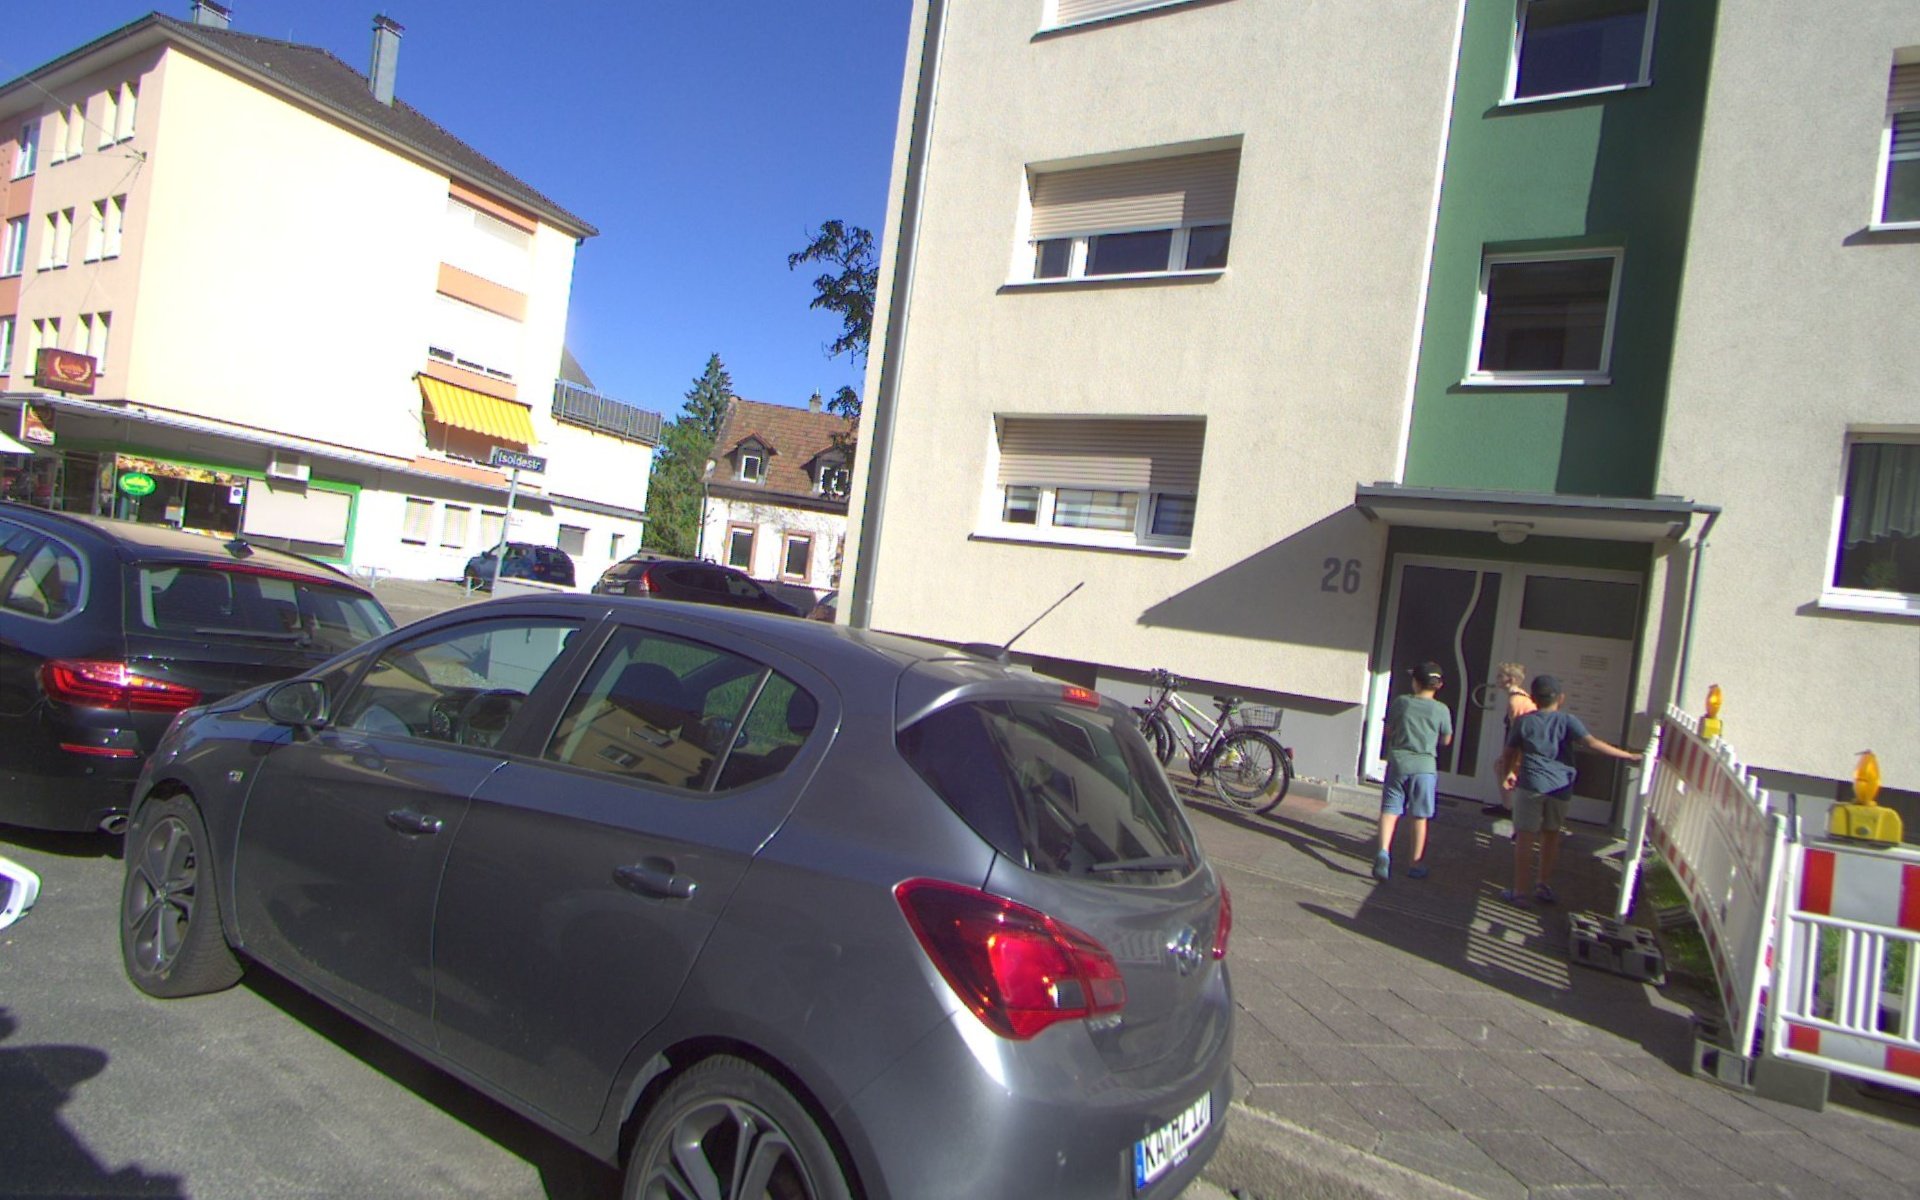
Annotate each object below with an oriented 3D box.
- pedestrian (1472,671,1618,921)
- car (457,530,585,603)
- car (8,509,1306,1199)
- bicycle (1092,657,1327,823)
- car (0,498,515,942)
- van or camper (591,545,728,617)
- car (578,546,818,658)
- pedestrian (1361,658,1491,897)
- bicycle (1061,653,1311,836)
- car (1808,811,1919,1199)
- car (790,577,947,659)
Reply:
[{"bbox_3d":[3.739,1.225,6.471,0.566,1.452,0.471,8,2,21],"label":"pedestrian"},{"bbox_3d":[-12.837,-0.984,29.406,3.417,1.632,1.582,7,0,30],"label":"car"},{"bbox_3d":[-1.144,0.685,3.200,3.874,1.477,1.648,7,-2,31],"label":"car"},{"bbox_3d":[2.161,1.182,8.872,1.866,1.076,0.445,8,5,32],"label":"bicycle"},{"bbox_3d":[-4.864,0.282,5.472,4.694,1.541,1.858,7,-2,28],"label":"car"},{"bbox_3d":[-10.212,-0.670,34.095,4.401,1.835,1.775,7,0,30],"label":"van or camper"},{"bbox_3d":[-5.006,0.110,19.738,1.796,1.632,4.243,7,-1,37],"label":"car"},{"bbox_3d":[3.070,1.147,6.669,0.498,1.452,0.451,7,2,10],"label":"pedestrian"},{"bbox_3d":[1.860,1.150,8.453,1.866,1.135,0.559,8,5,32],"label":"bicycle"},{"bbox_3d":[3.291,1.300,0.396,4.267,1.486,1.798,7,-4,32],"label":"car"},{"bbox_3d":[-2.098,0.466,23.746,1.474,1.489,3.600,7,-1,39],"label":"car"}]
